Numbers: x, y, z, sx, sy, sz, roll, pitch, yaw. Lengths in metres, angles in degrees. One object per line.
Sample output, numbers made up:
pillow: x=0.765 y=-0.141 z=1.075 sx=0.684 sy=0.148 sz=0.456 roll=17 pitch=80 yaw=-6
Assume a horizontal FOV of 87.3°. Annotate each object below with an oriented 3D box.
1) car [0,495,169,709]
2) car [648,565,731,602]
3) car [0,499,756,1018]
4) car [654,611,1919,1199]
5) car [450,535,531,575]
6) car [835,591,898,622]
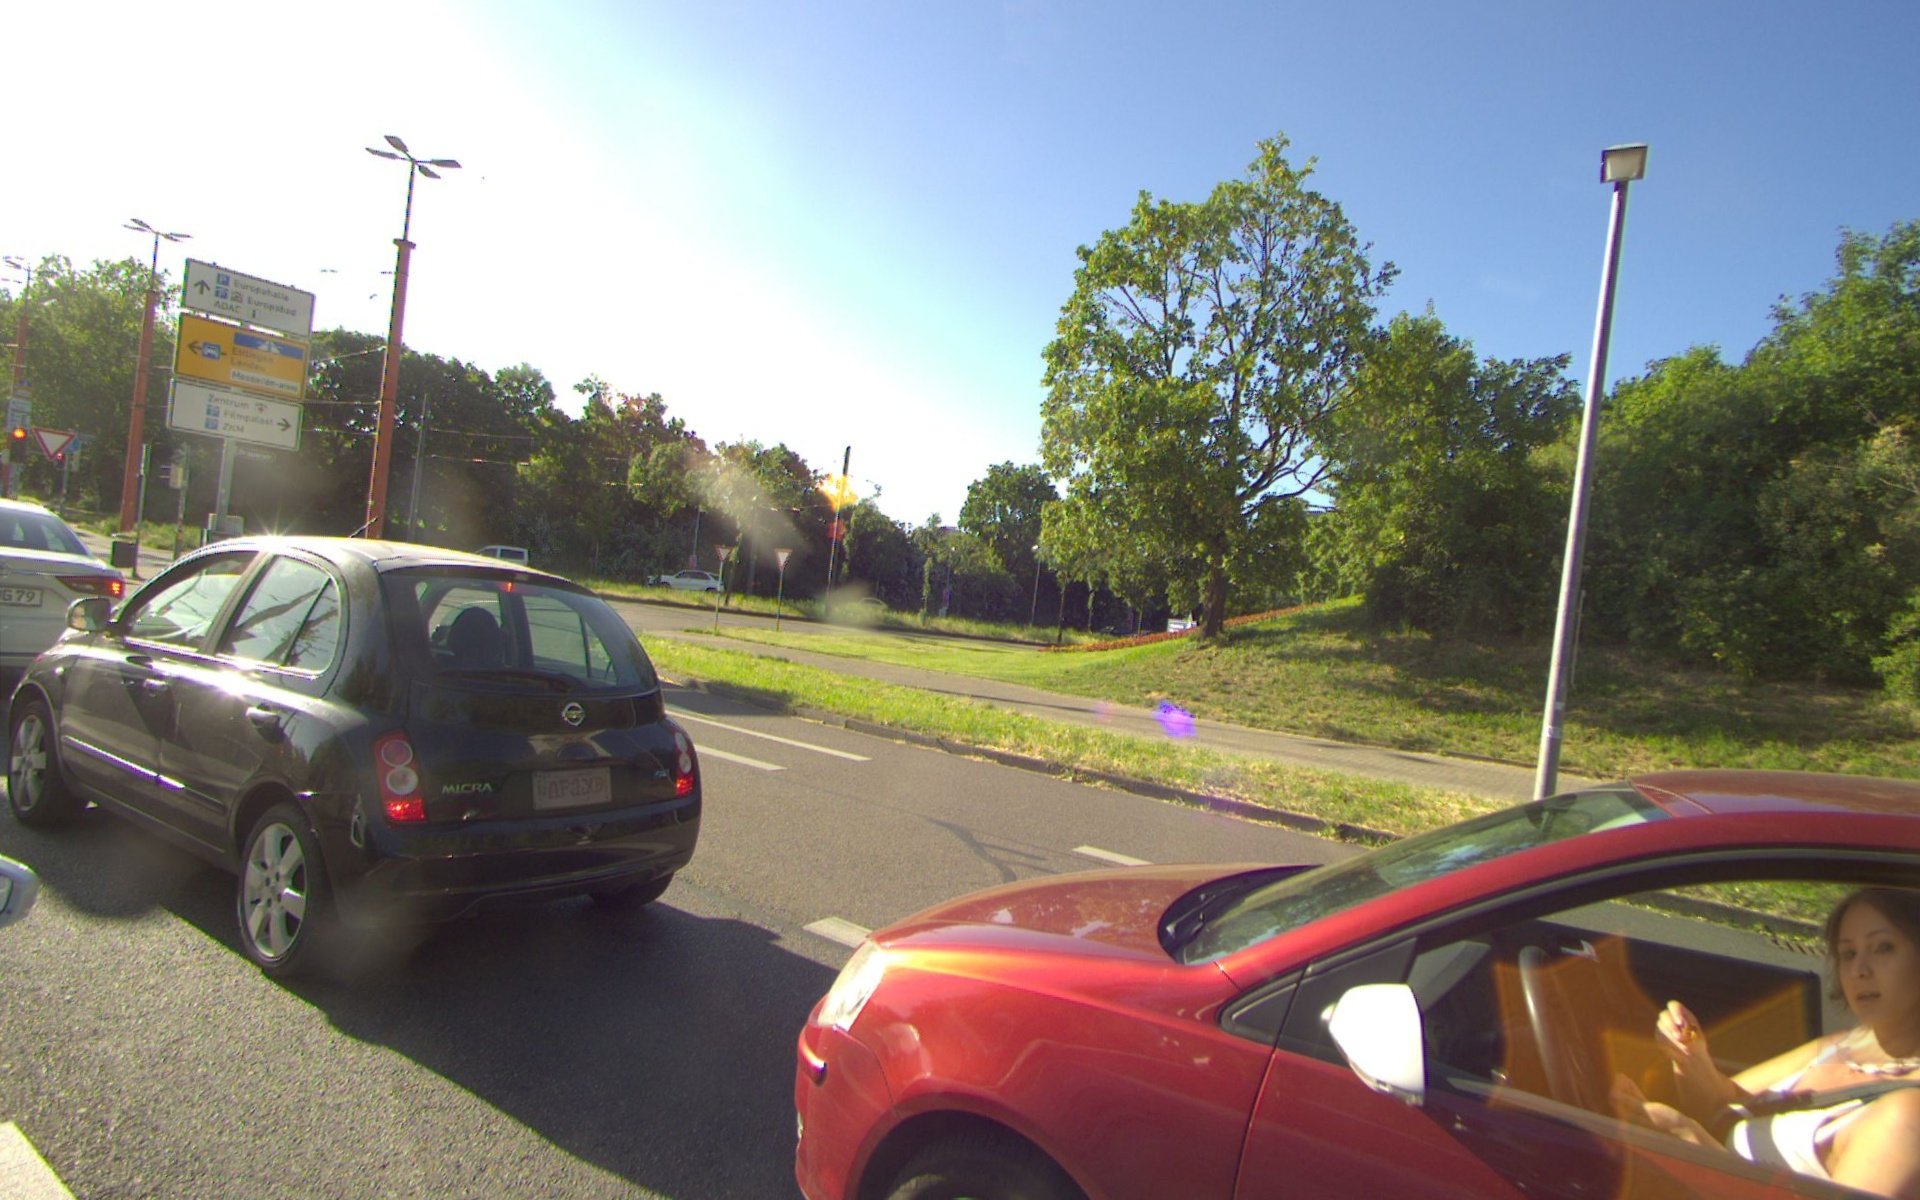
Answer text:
car: x=-8.379 y=-0.175 z=8.080 sx=4.256 sy=1.457 sz=1.802 roll=6 pitch=-2 yaw=33
car: x=-17.011 y=-1.047 z=63.305 sx=4.629 sy=1.644 sz=1.643 roll=8 pitch=-1 yaw=-32
car: x=-2.807 y=0.467 z=4.624 sx=3.385 sy=1.457 sz=1.579 roll=6 pitch=-2 yaw=32
car: x=1.336 y=1.002 z=1.868 sx=3.629 sy=1.477 sz=1.579 roll=6 pitch=-2 yaw=32
car: x=-28.137 y=-2.658 z=60.343 sx=4.091 sy=1.771 sz=1.643 roll=8 pitch=-1 yaw=-32
car: x=-6.835 y=0.479 z=73.555 sx=4.176 sy=1.701 sz=1.643 roll=8 pitch=-1 yaw=-32
